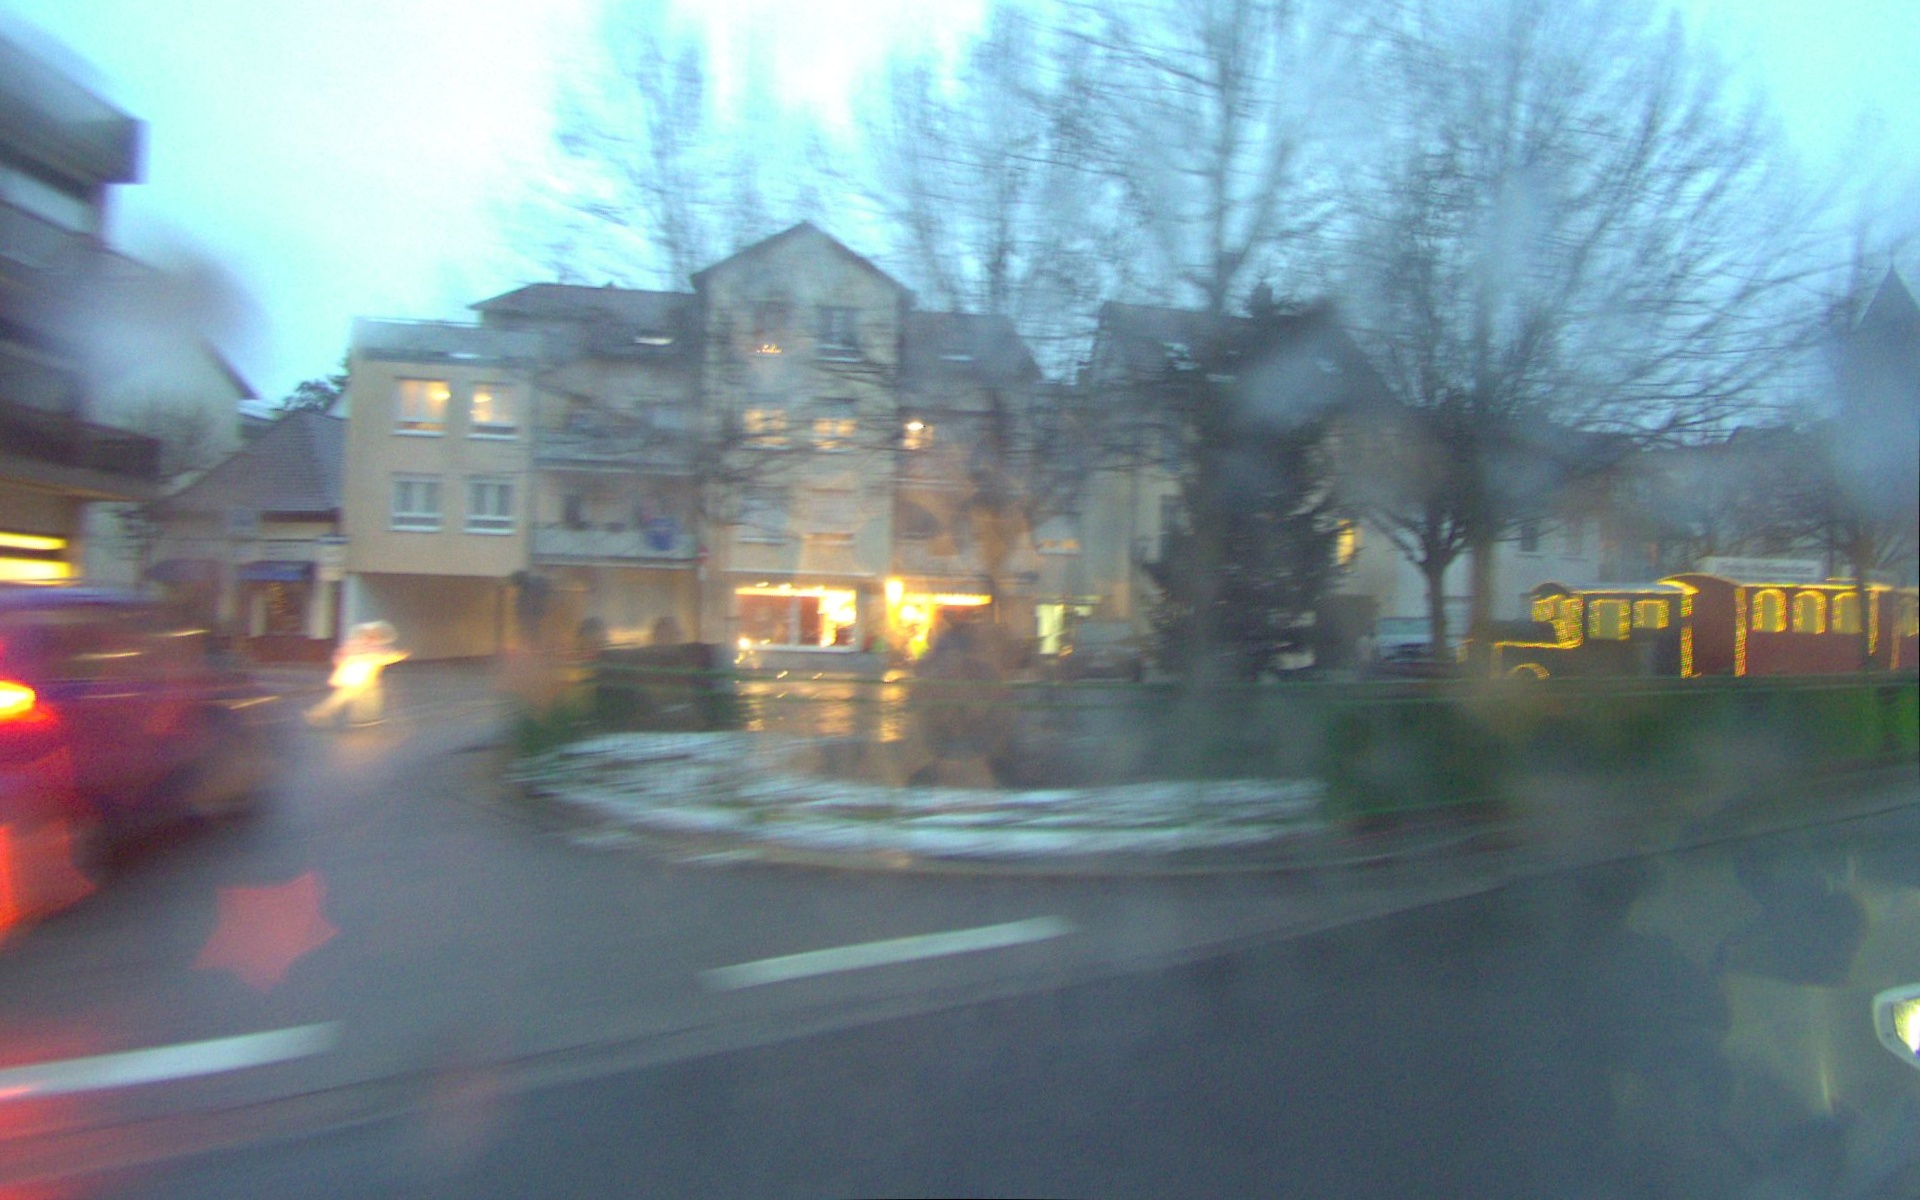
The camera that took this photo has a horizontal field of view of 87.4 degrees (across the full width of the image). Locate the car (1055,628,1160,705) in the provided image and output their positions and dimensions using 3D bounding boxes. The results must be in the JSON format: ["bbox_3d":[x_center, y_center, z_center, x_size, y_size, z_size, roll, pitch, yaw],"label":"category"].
[{"bbox_3d":[3.229,1.422,22.712,1.884,1.528,4.001,0,-1,2],"label":"car"}]

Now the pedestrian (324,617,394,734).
[{"bbox_3d":[-7.227,0.892,12.101,0.558,1.357,0.619,1,-1,-15],"label":"pedestrian"}]

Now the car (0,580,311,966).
[{"bbox_3d":[-4.916,0.699,5.350,1.477,1.527,3.301,1,-1,-15],"label":"car"}]

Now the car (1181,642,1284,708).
[{"bbox_3d":[6.239,1.683,23.318,1.582,1.346,3.328,0,-1,2],"label":"car"}]
